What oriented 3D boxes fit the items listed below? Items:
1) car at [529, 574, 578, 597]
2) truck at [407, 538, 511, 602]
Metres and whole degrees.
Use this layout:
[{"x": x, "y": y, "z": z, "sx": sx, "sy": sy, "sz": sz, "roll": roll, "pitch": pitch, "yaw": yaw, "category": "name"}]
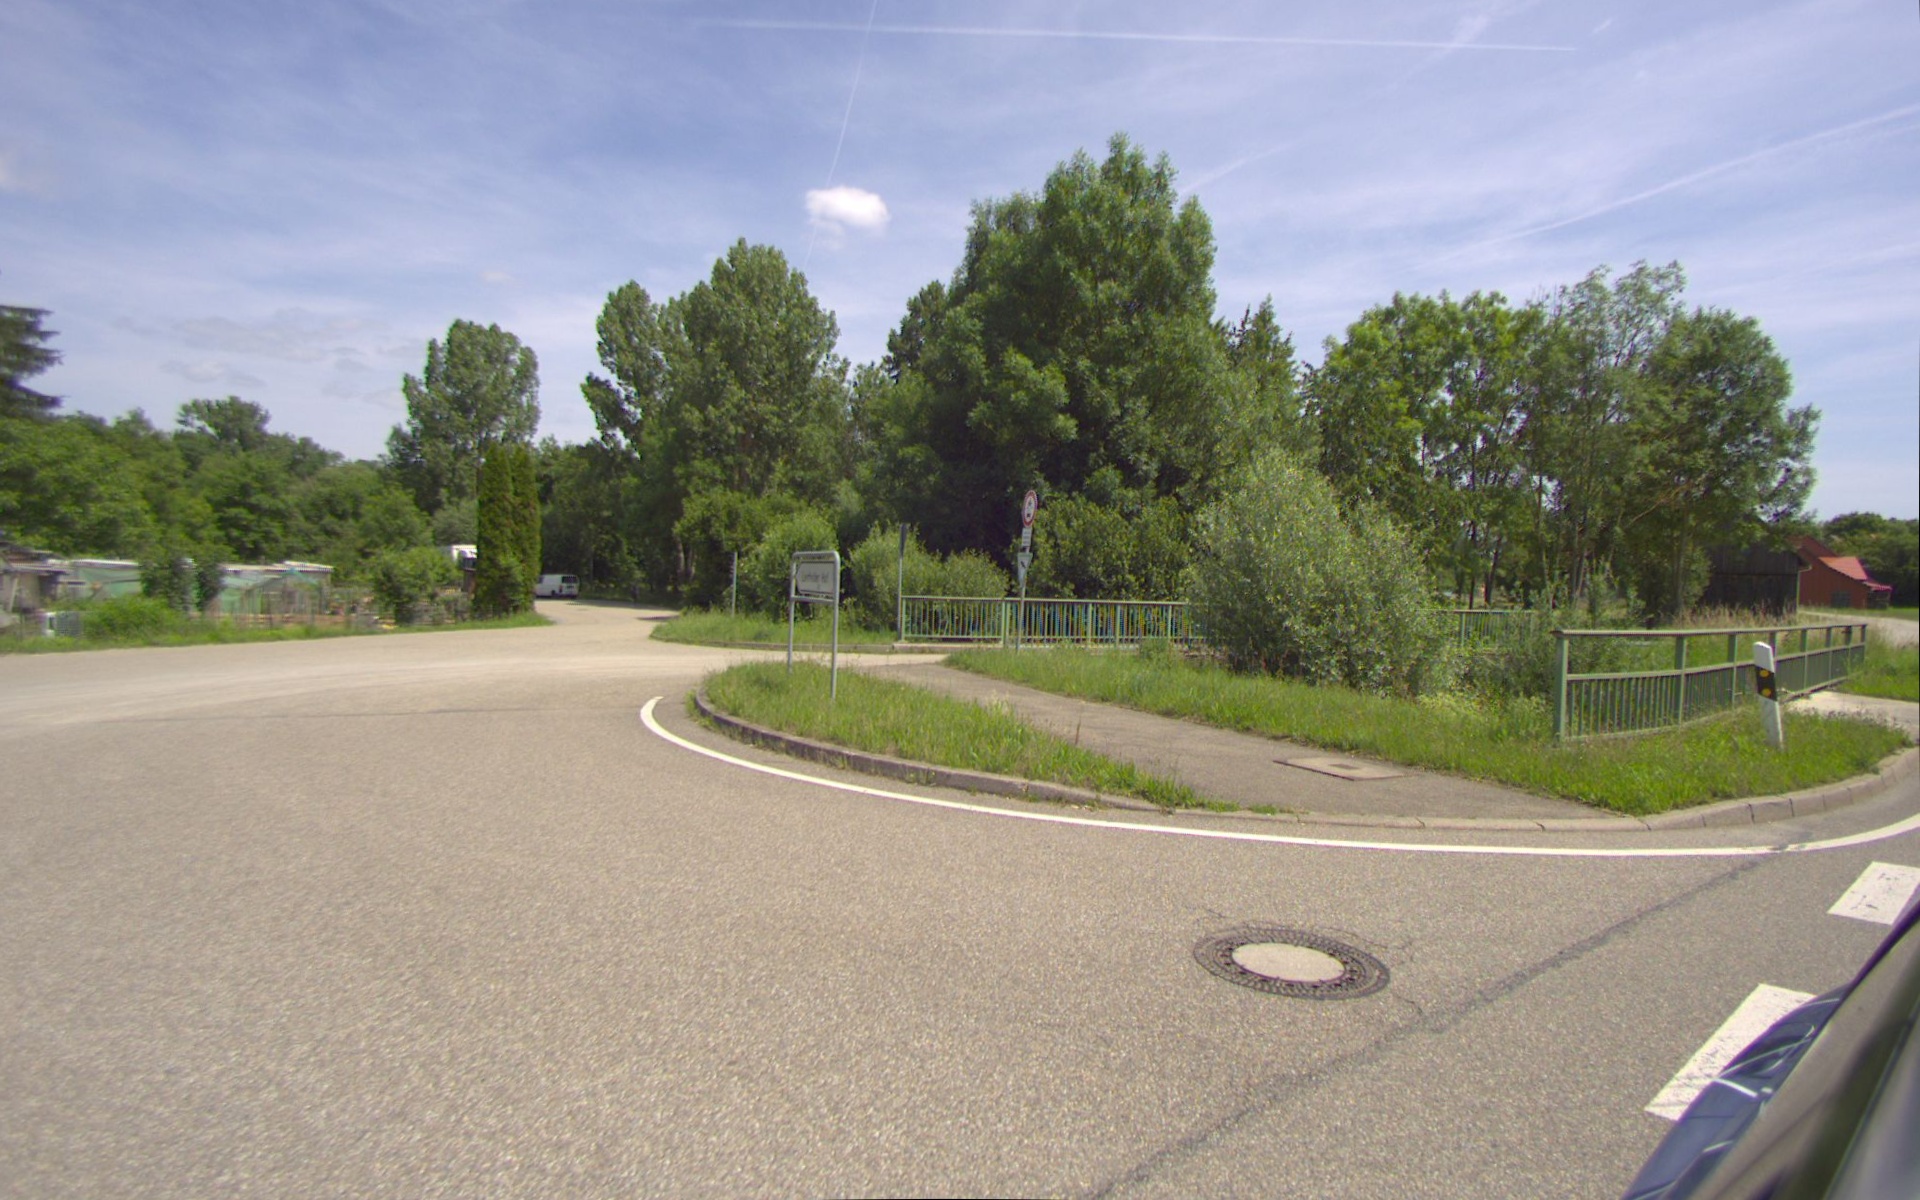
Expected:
[{"x": -32.265, "y": -1.148, "z": 80.365, "sx": 3.979, "sy": 1.727, "sz": 1.848, "roll": 2, "pitch": 1, "yaw": 38, "category": "car"}, {"x": -32.185, "y": -1.970, "z": 64.646, "sx": 11.548, "sy": 3.741, "sz": 2.343, "roll": 3, "pitch": 1, "yaw": 45, "category": "truck"}]
